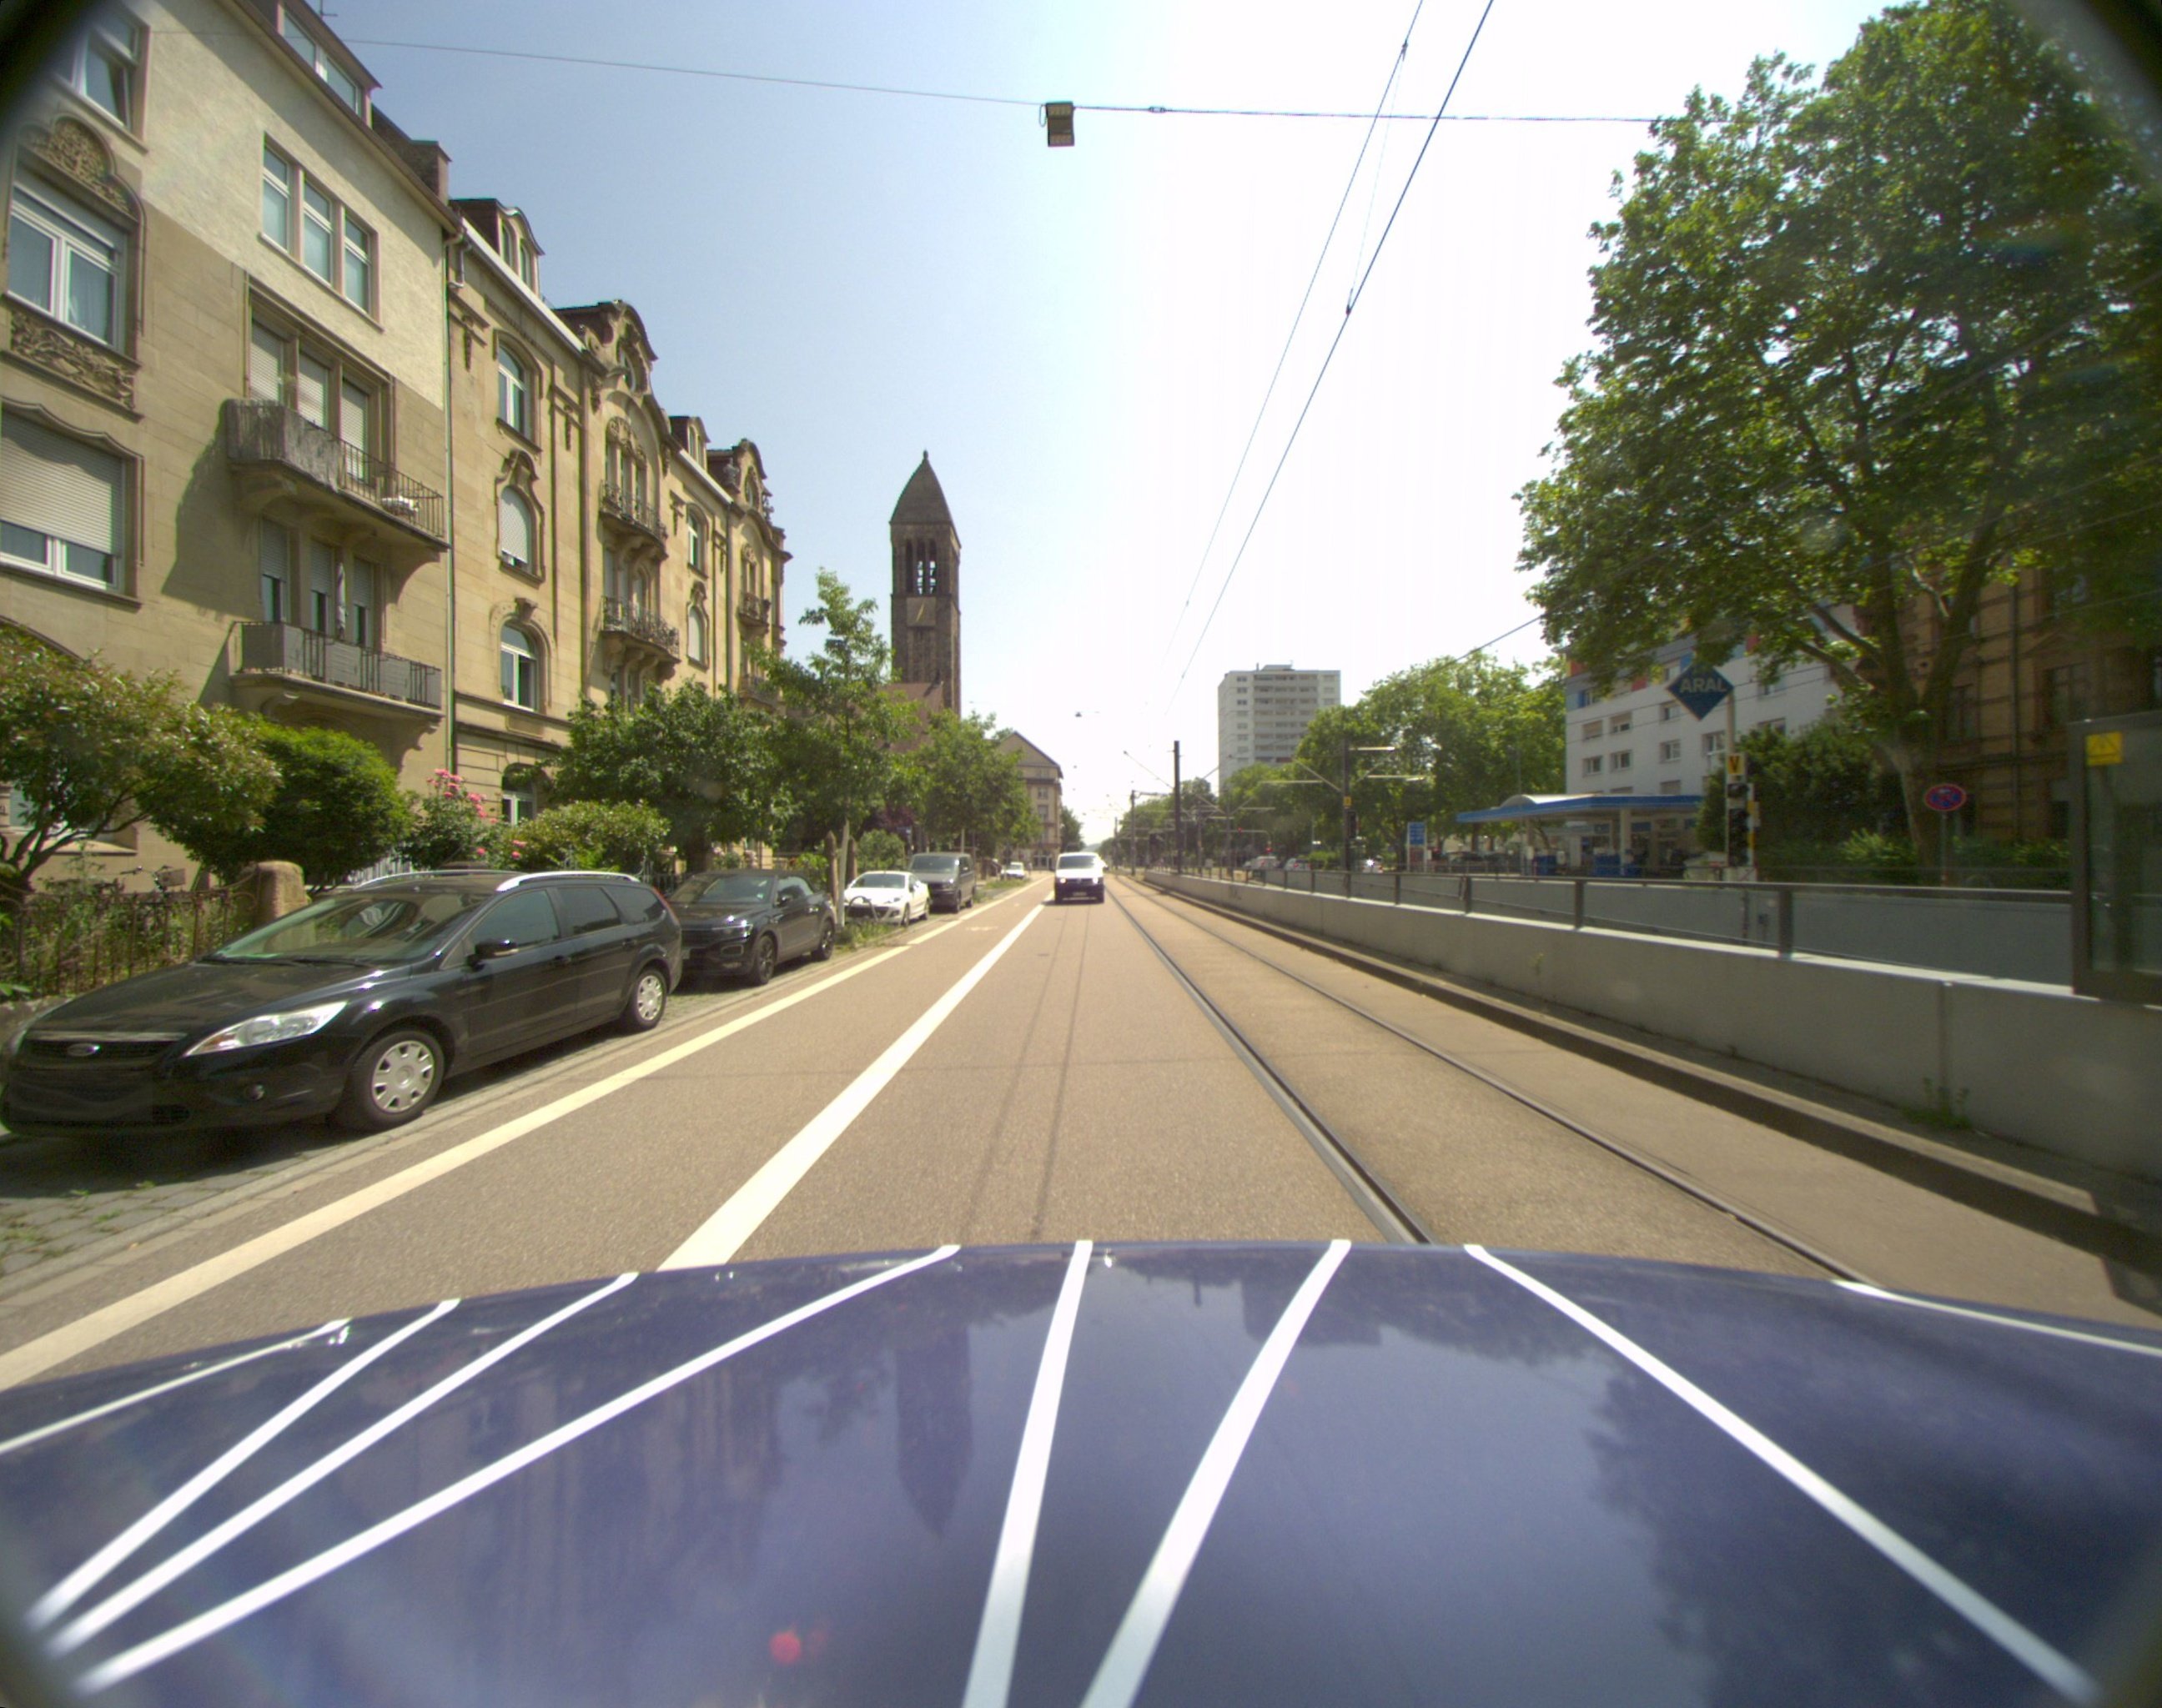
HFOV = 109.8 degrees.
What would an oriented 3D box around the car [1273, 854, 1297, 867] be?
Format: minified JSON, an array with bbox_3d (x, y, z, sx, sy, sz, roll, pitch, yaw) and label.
[{"bbox_3d":[22.414,0.721,83.473,1.600,1.411,3.782,1,0,0],"label":"car"}]

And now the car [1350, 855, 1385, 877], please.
[{"bbox_3d":[21.557,0.875,57.253,1.547,1.552,3.881,-1,0,7],"label":"car"}]

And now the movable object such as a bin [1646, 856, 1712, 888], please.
[{"bbox_3d":[26.999,0.806,34.347,1.787,1.377,1.469,-1,0,-2],"label":"movable object such as a bin"}]

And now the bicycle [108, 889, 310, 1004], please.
[{"bbox_3d":[-9.191,0.965,8.025,1.693,1.070,0.343,3,0,0],"label":"bicycle"}]

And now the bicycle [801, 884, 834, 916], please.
[{"bbox_3d":[-8.067,1.400,23.318,0.441,0.875,1.635,-1,0,0],"label":"bicycle"}]

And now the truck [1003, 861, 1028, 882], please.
[{"bbox_3d":[-4.837,1.281,56.640,1.795,1.517,4.463,-1,0,-4],"label":"truck"}]

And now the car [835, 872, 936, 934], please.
[{"bbox_3d":[-5.051,1.215,20.160,1.615,1.397,4.000,-1,0,0],"label":"car"}]

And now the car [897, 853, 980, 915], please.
[{"bbox_3d":[-4.741,0.945,25.989,1.883,1.936,4.836,0,0,0],"label":"car"}]

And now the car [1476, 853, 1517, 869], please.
[{"bbox_3d":[41.557,0.726,76.113,1.868,1.517,4.000,-1,-1,0],"label":"car"}]

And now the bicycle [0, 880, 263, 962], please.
[{"bbox_3d":[-14.005,0.924,11.354,0.584,0.980,2.759,-1,0,-1],"label":"bicycle"}]

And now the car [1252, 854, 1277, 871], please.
[{"bbox_3d":[21.908,1.025,91.016,1.781,1.979,4.804,-1,0,-1],"label":"car"}]

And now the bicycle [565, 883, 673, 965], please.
[{"bbox_3d":[-8.102,1.183,13.443,0.593,1.254,2.092,-1,0,0],"label":"bicycle"}]

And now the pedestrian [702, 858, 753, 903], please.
[{"bbox_3d":[-8.770,0.654,18.877,0.867,1.063,0.761,-1,0,4],"label":"pedestrian"}]

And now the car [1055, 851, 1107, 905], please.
[{"bbox_3d":[0.005,0.885,30.172,1.852,1.942,4.943,-1,0,0],"label":"car"}]

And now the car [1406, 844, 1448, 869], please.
[{"bbox_3d":[34.237,0.278,75.284,1.851,2.378,4.981,-1,0,-1],"label":"car"}]

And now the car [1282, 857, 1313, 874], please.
[{"bbox_3d":[21.846,1.120,76.885,1.851,1.616,4.602,0,0,1],"label":"car"}]

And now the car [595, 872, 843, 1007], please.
[{"bbox_3d":[-4.965,1.077,11.113,1.671,1.521,4.013,-1,0,0],"label":"car"}]

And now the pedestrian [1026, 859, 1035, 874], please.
[{"bbox_3d":[-5.679,1.372,85.517,0.795,1.641,0.967,-1,0,2],"label":"pedestrian"}]

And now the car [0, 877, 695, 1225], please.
[{"bbox_3d":[-4.970,1.017,5.837,1.734,1.527,4.404,-1,0,0],"label":"car"}]

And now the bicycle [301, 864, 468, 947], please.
[{"bbox_3d":[-12.443,0.863,13.739,0.566,1.324,2.690,-1,0,-1],"label":"bicycle"}]

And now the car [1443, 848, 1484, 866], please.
[{"bbox_3d":[38.014,0.280,75.592,1.998,1.710,4.000,-1,0,0],"label":"car"}]

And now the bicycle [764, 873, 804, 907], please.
[{"bbox_3d":[-8.122,0.970,20.846,0.441,0.875,1.635,-1,0,0],"label":"bicycle"}]

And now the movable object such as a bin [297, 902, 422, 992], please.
[{"bbox_3d":[-9.449,1.197,9.987,0.804,1.063,0.830,2,0,0],"label":"movable object such as a bin"}]

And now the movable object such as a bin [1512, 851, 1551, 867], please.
[{"bbox_3d":[44.438,0.497,74.965,2.724,1.601,1.986,-1,0,0],"label":"movable object such as a bin"}]
